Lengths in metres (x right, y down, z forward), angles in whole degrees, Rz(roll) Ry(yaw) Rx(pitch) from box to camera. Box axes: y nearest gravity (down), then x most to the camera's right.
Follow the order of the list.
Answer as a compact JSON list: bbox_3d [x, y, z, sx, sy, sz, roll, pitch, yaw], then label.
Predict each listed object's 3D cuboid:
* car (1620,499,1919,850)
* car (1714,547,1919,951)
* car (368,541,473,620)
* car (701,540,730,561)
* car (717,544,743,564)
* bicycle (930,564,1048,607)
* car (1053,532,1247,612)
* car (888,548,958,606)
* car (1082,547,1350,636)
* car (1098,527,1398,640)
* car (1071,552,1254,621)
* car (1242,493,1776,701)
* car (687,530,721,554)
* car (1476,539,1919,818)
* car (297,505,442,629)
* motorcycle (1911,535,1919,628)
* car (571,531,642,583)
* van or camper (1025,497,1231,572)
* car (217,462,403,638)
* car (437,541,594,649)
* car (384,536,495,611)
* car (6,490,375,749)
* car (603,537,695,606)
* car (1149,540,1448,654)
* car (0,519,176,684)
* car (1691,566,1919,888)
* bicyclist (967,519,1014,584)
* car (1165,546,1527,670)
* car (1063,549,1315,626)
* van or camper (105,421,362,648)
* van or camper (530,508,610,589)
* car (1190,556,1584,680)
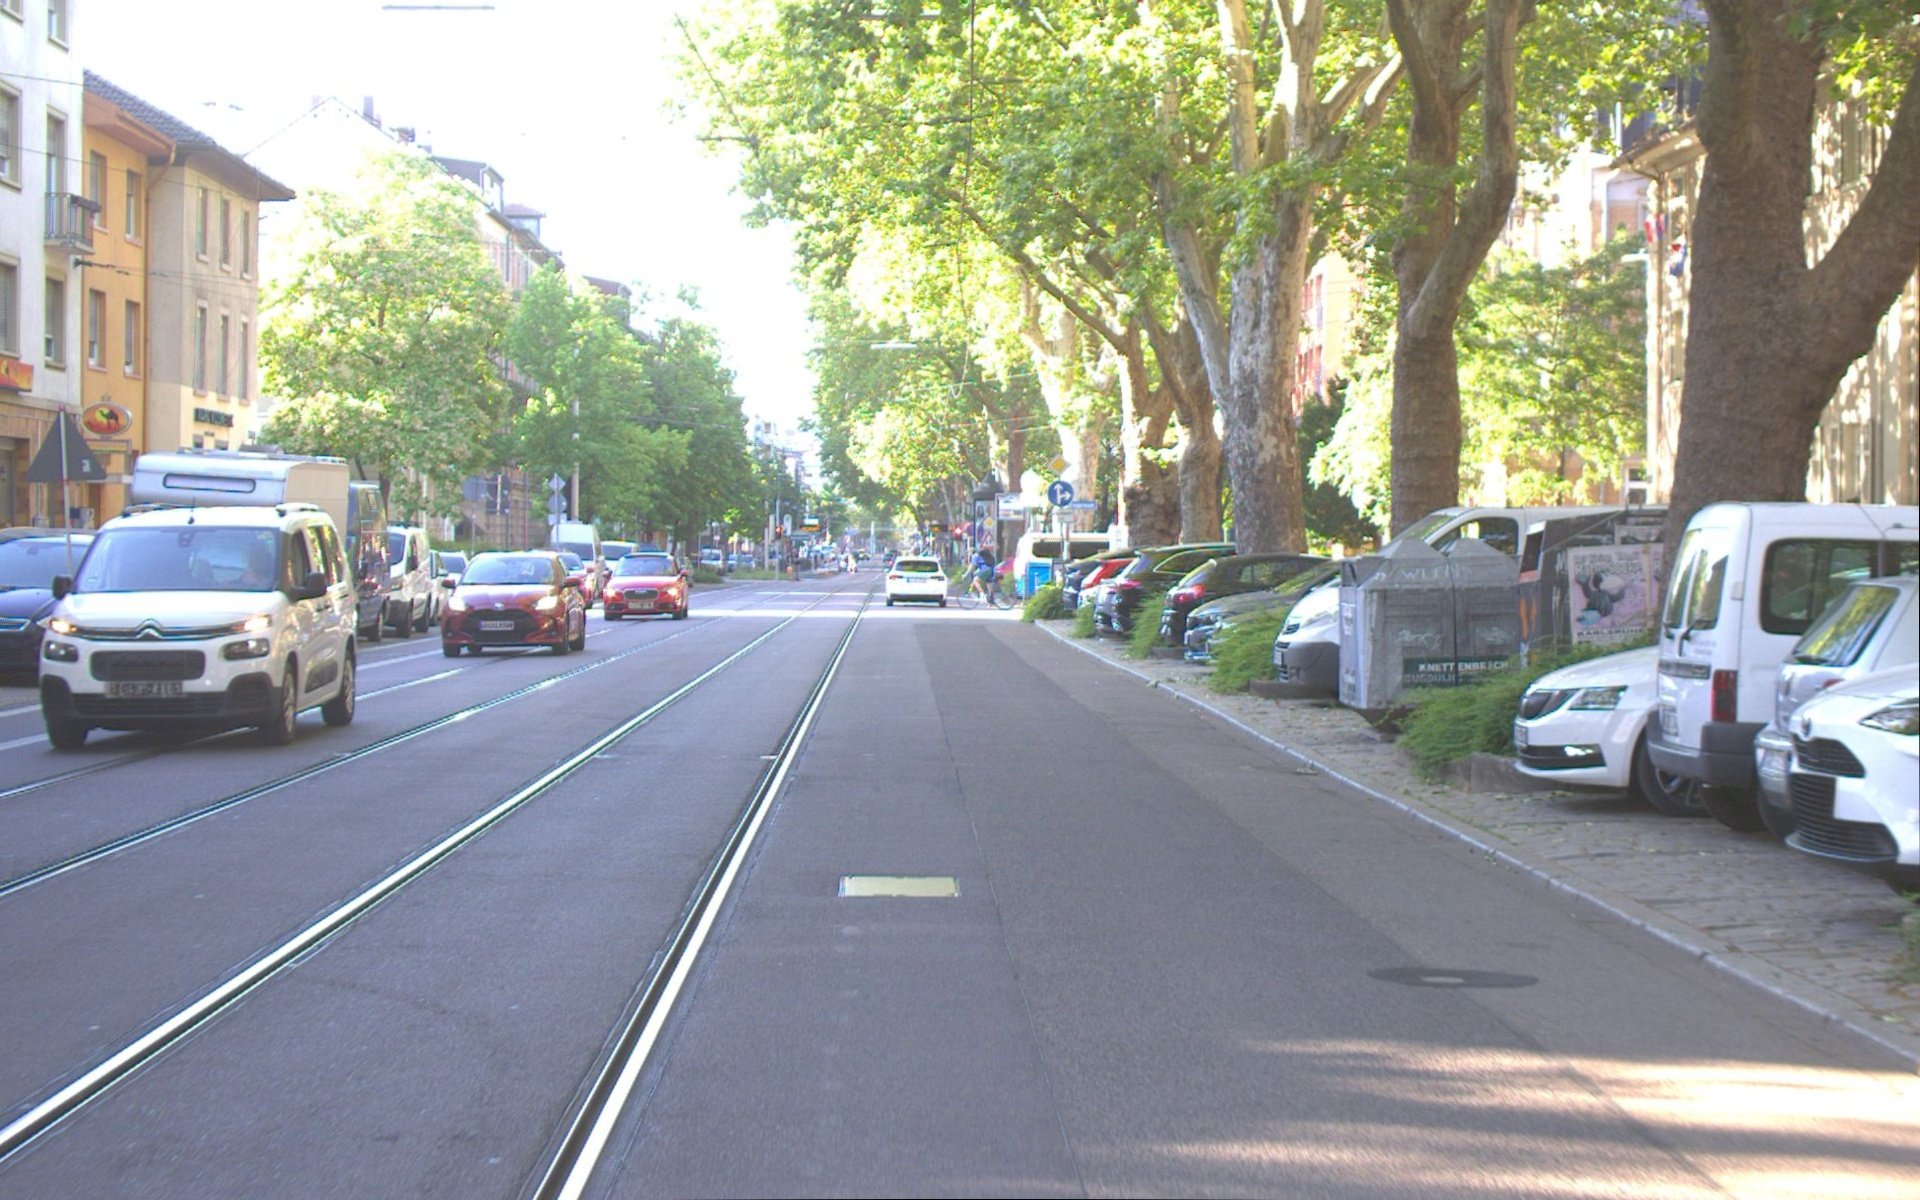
[{"bbox_3d":[5.591,0.367,18.272,3.844,1.766,1.916,0,1,3],"label":"car"},{"bbox_3d":[5.328,0.563,13.918,4.087,1.516,1.917,0,0,-2],"label":"car"},{"bbox_3d":[-10.977,-0.414,70.097,1.572,1.521,3.040,2,1,1],"label":"car"},{"bbox_3d":[-16.819,-3.434,236.541,1.918,1.414,3.591,0,1,-3],"label":"car"},{"bbox_3d":[-17.323,-3.465,258.635,1.918,1.414,3.591,0,1,-3],"label":"car"},{"bbox_3d":[0.760,-0.376,90.545,2.947,1.101,1.052,0,1,-10],"label":"bicycle"},{"bbox_3d":[4.016,-0.610,73.154,3.923,1.664,1.961,0,1,-3],"label":"car"},{"bbox_3d":[-1.081,-0.660,98.005,1.918,1.579,3.791,-1,1,-1],"label":"car"},{"bbox_3d":[4.257,-0.153,57.676,4.295,1.434,1.948,0,1,-2],"label":"car"},{"bbox_3d":[4.421,-0.264,53.197,4.496,1.596,2.027,-1,1,3],"label":"car"},{"bbox_3d":[4.146,-0.290,70.936,3.650,1.373,1.890,0,1,0],"label":"car"},{"bbox_3d":[5.316,-0.041,33.760,4.835,1.956,2.065,0,1,-3],"label":"car"},{"bbox_3d":[-15.195,-3.459,204.285,1.918,1.414,3.721,0,1,-3],"label":"car"},{"bbox_3d":[5.344,0.436,20.297,4.371,1.536,1.801,0,2,3],"label":"car"},{"bbox_3d":[-10.941,-0.660,64.037,1.952,2.084,5.250,3,2,-3],"label":"car"},{"bbox_3d":[15.034,-0.311,50.664,1.803,1.356,0.622,-3,1,-3],"label":"motorcycle"},{"bbox_3d":[-12.889,-1.564,125.631,2.173,1.854,4.659,0,1,-1],"label":"car"},{"bbox_3d":[4.717,-1.859,97.082,5.554,2.006,2.245,0,4,-5],"label":"van or camper"},{"bbox_3d":[-10.894,-0.859,57.975,2.086,2.722,5.310,3,1,-1],"label":"car"},{"bbox_3d":[-6.339,-0.110,49.404,1.775,1.453,4.203,-1,1,-1],"label":"car"},{"bbox_3d":[-11.254,-0.602,74.579,1.836,1.463,5.070,3,1,-3],"label":"car"},{"bbox_3d":[-5.869,0.092,26.805,1.891,1.825,4.896,0,1,-1],"label":"car"},{"bbox_3d":[-6.792,-0.647,75.369,1.723,1.432,4.069,-1,1,-1],"label":"car"},{"bbox_3d":[4.548,-0.055,46.566,3.838,1.504,1.711,0,1,-1],"label":"car"},{"bbox_3d":[-10.383,-0.044,38.972,1.952,1.680,5.071,2,1,-2],"label":"car"},{"bbox_3d":[5.567,0.573,16.312,3.844,1.428,1.851,0,1,3],"label":"car"},{"bbox_3d":[0.790,-1.269,90.524,1.045,1.700,1.058,0,1,-10],"label":"bicyclist"},{"bbox_3d":[4.741,0.086,42.661,4.247,1.478,1.898,0,1,-1],"label":"car"},{"bbox_3d":[4.373,-0.250,66.070,4.686,1.441,1.892,0,1,-1],"label":"car"},{"bbox_3d":[-10.731,-0.975,51.359,2.337,3.030,6.397,3,1,0],"label":"van or camper"},{"bbox_3d":[-12.553,-1.662,110.953,2.079,2.524,5.318,0,1,-1],"label":"van or camper"},{"bbox_3d":[4.879,0.188,39.782,4.397,1.376,1.804,0,1,3],"label":"car"}]
